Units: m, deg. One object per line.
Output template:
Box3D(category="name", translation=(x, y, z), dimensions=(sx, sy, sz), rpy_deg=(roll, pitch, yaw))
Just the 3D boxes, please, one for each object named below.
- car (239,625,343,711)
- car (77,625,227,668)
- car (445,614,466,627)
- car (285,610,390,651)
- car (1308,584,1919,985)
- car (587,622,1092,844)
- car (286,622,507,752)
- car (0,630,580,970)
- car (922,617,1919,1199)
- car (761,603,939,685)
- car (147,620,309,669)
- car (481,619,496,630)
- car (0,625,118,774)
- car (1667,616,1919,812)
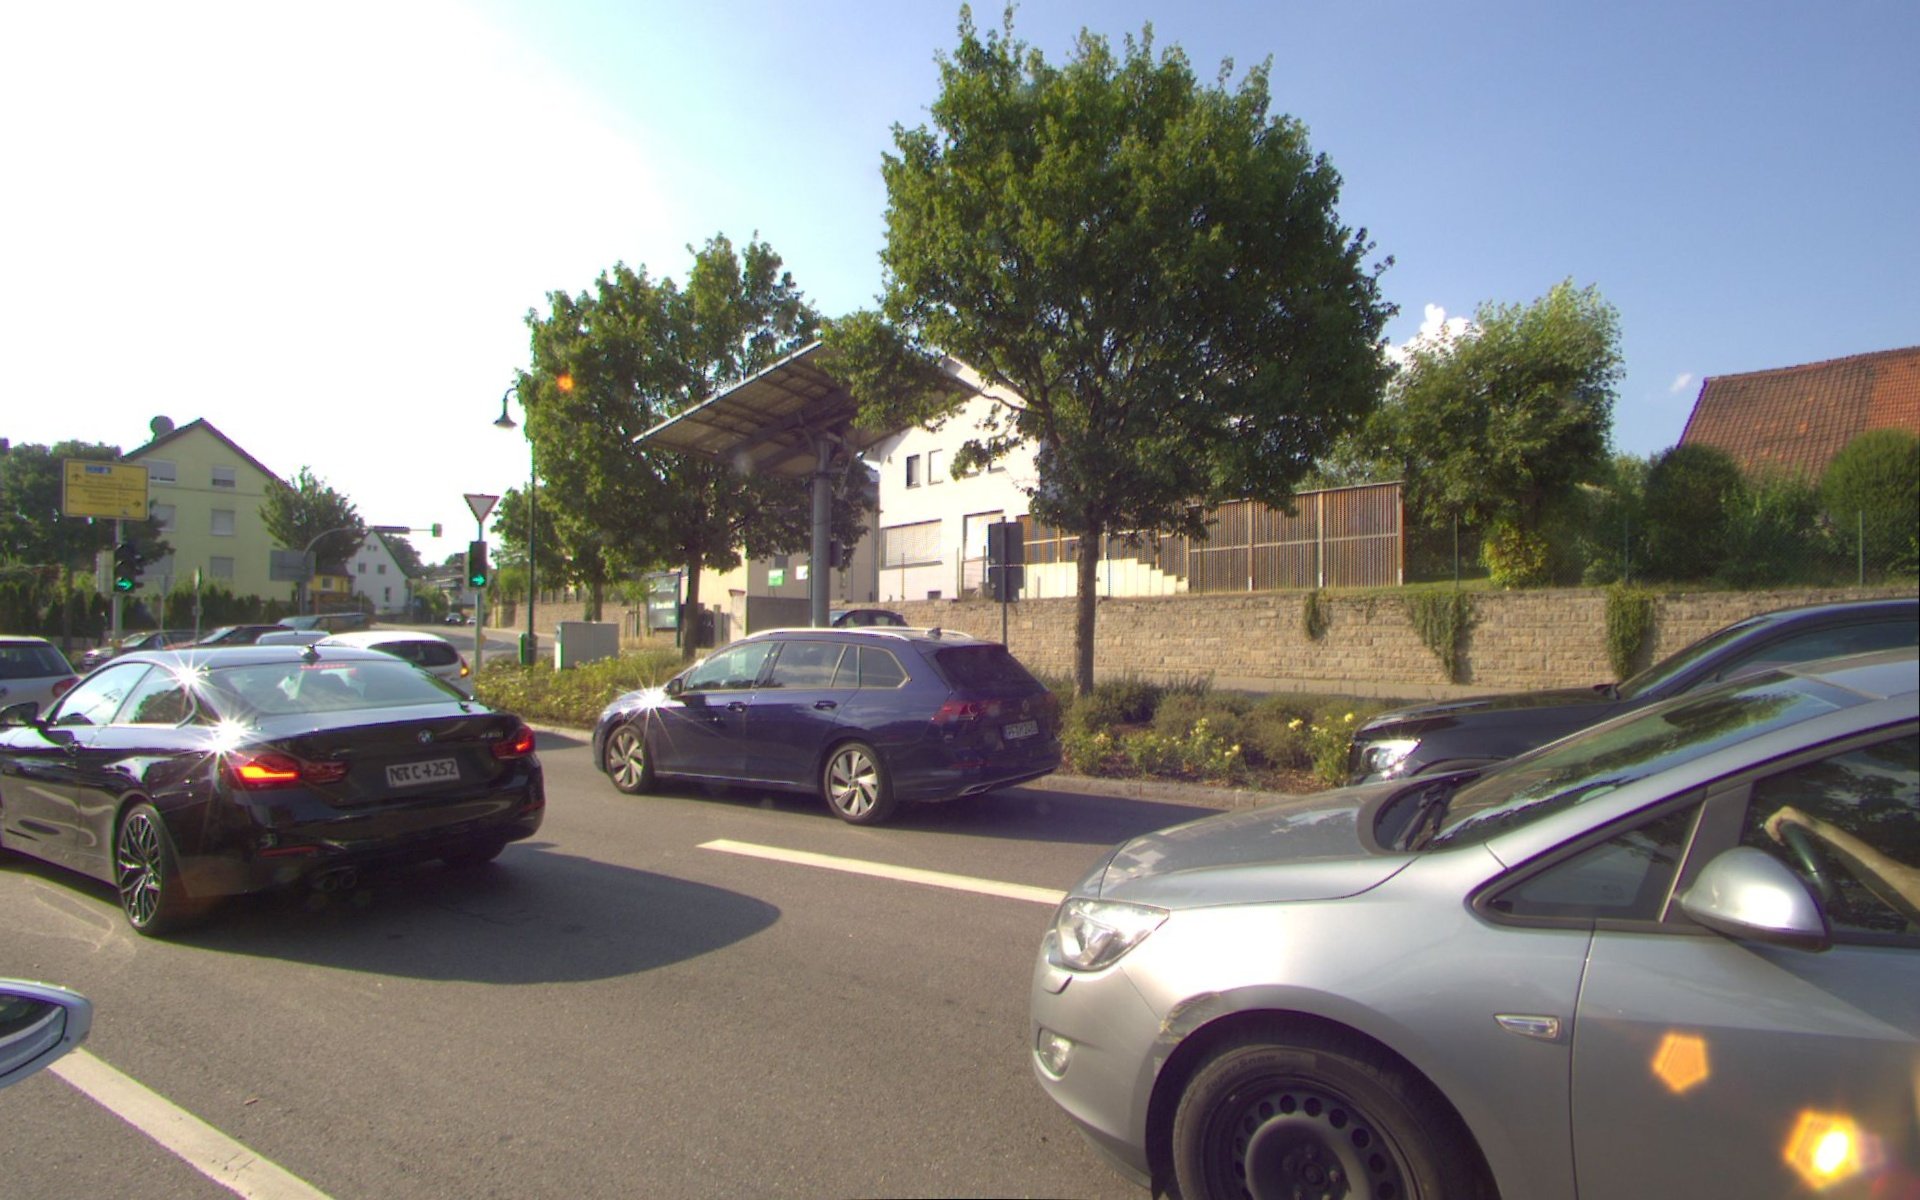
Box3D(category="car", translation=(-14.007, 1.327, 20.972), dimensions=(1.640, 1.562, 4.369), rpy_deg=(-1, 0, -34))
Box3D(category="car", translation=(-30.073, 1.712, 37.370), dimensions=(1.821, 1.508, 3.983), rpy_deg=(-1, -2, 30))
Box3D(category="car", translation=(-68.483, 2.789, 135.945), dimensions=(1.937, 1.701, 4.207), rpy_deg=(0, -1, -18))
Box3D(category="car", translation=(-28.201, 1.390, 45.565), dimensions=(1.812, 1.761, 4.786), rpy_deg=(0, -2, 0))
Box3D(category="car", translation=(4.189, 0.756, 4.907), dimensions=(4.495, 1.630, 1.760), rpy_deg=(-1, 0, 28))
Box3D(category="car", translation=(-1.163, 0.948, 8.696), dimensions=(4.259, 1.472, 1.757), rpy_deg=(-1, 0, 34))
Box3D(category="car", translation=(-7.839, 1.093, 13.854), dimensions=(3.278, 1.562, 1.611), rpy_deg=(-1, 0, 40))
Box3D(category="car", translation=(-4.436, 0.914, 6.192), dimensions=(4.220, 1.416, 1.758), rpy_deg=(-1, 0, 33))
Box3D(category="car", translation=(2.172, 0.783, 2.167), dimensions=(4.256, 1.472, 1.758), rpy_deg=(-1, 0, 31))
Box3D(category="car", translation=(-2.378, 0.958, 22.304), dimensions=(1.758, 1.653, 3.800), rpy_deg=(-1, -2, 40))
Box3D(category="car", translation=(-26.488, 1.592, 36.416), dimensions=(1.818, 1.662, 4.418), rpy_deg=(0, -2, 25))
Box3D(category="car", translation=(-74.277, 3.808, 157.859), dimensions=(1.939, 1.701, 4.202), rpy_deg=(0, -1, -23))
Box3D(category="car", translation=(-11.016, 1.015, 10.924), dimensions=(3.848, 1.444, 1.758), rpy_deg=(-1, 0, 33))
Box3D(category="car", translation=(8.224, 0.951, 9.751), dimensions=(1.758, 1.510, 4.120), rpy_deg=(-1, -2, 41))
